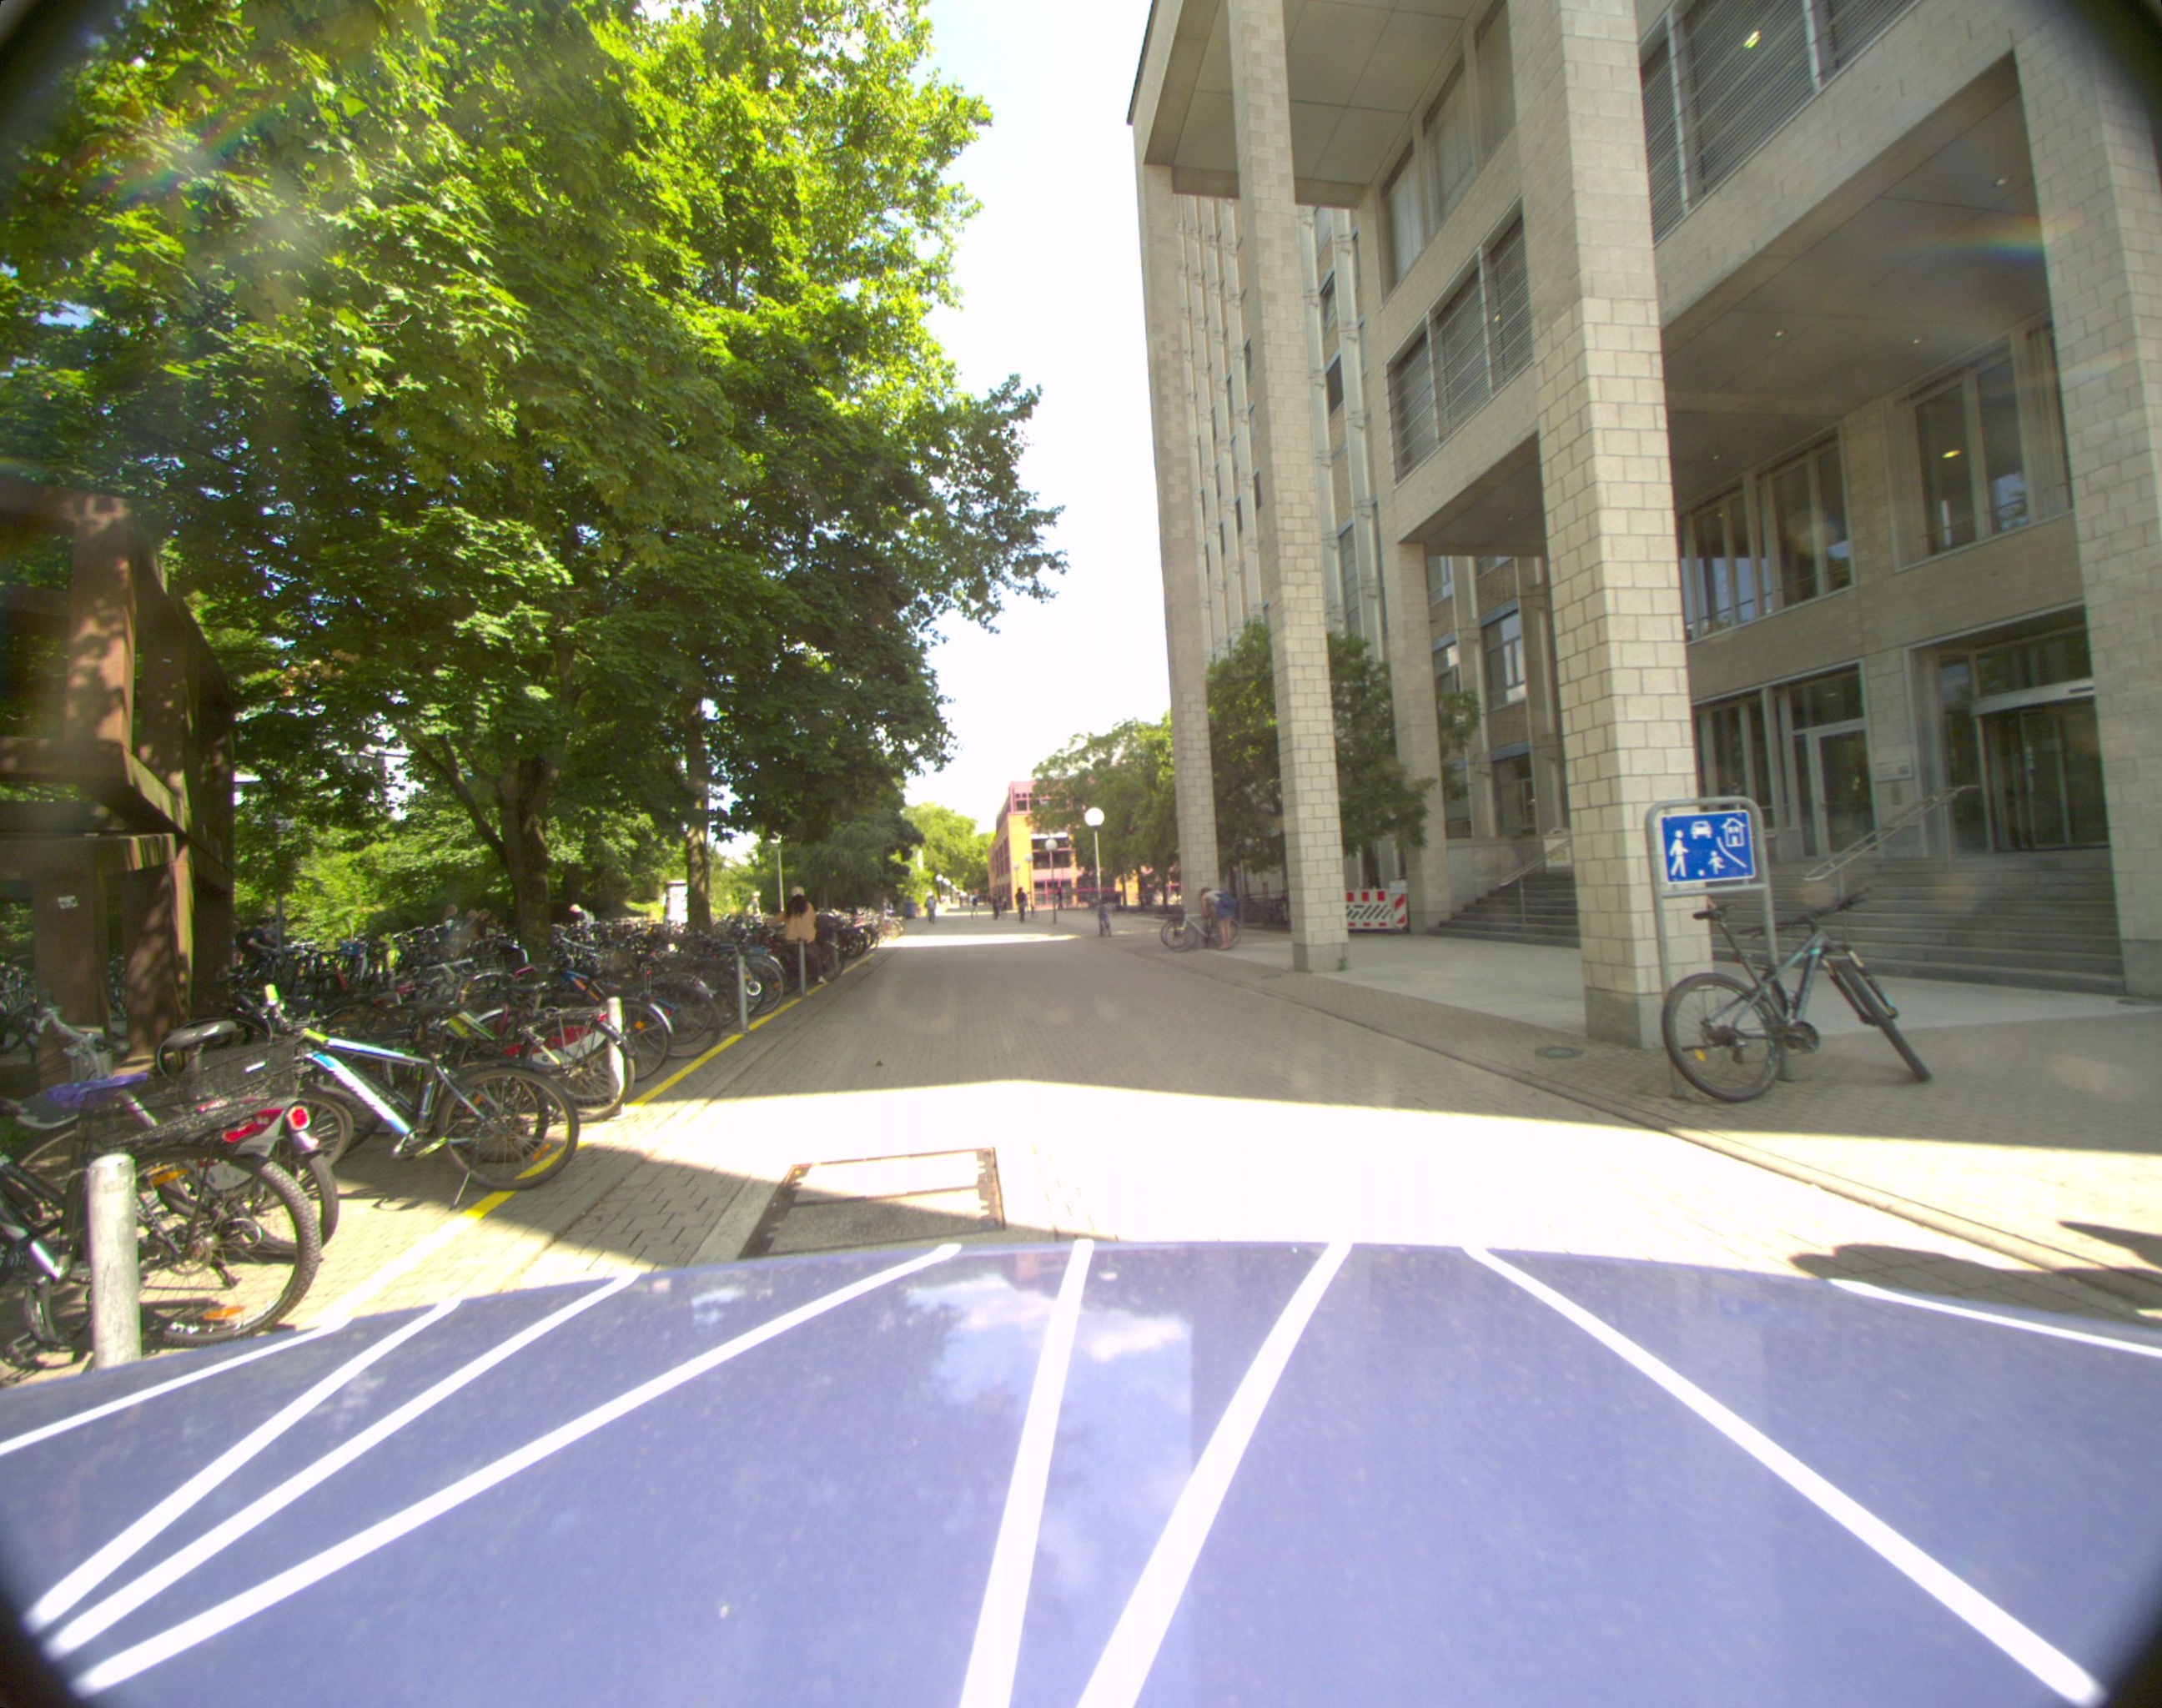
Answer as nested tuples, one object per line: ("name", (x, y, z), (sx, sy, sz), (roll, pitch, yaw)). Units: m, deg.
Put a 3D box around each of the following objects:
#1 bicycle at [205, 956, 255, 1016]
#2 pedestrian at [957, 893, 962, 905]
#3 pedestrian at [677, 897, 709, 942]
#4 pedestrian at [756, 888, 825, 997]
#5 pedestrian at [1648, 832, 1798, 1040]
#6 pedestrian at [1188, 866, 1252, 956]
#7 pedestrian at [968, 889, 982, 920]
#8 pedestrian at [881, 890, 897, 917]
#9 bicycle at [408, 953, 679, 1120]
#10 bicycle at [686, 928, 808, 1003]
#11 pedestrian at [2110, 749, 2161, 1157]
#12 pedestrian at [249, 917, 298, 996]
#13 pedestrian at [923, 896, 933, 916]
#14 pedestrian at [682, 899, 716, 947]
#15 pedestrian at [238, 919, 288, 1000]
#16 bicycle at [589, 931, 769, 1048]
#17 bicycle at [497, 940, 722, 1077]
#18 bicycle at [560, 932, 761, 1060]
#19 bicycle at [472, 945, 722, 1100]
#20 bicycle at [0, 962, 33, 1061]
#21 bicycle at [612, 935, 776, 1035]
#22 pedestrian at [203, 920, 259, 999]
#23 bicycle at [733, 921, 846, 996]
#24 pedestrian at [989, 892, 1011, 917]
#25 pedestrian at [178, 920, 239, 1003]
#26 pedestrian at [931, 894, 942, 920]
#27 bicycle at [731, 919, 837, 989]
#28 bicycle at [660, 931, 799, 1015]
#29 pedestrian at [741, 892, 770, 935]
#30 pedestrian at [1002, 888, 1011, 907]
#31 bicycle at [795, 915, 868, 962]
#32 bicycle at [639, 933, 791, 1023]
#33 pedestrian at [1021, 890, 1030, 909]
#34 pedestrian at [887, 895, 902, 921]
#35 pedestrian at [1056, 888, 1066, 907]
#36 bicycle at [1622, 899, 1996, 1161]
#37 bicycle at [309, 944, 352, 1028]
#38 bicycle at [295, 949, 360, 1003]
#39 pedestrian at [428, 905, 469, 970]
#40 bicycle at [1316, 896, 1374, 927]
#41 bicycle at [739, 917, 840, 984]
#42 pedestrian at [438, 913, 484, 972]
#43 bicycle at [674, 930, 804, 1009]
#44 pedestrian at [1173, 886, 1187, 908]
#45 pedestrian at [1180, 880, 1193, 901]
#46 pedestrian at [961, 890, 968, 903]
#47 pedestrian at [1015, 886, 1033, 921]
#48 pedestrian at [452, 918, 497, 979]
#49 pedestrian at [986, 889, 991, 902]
("bicycle", (-16.272, 2.488, 14.516), (1.899, 0.973, 0.479), (-4, -1, 38))
("pedestrian", (-18.625, 6.900, 116.667), (0.565, 1.753, 0.804), (-2, 1, -3))
("pedestrian", (-14.159, 2.367, 27.738), (0.744, 1.559, 0.721), (-3, -1, -1))
("pedestrian", (-4.759, 1.440, 12.489), (0.945, 1.692, 0.428), (-2, -3, -13))
("pedestrian", (5.760, 0.702, 6.842), (0.686, 1.723, 0.689), (-3, -2, -21))
("pedestrian", (2.825, 1.147, 15.497), (0.750, 1.729, 0.936), (-3, -2, -28))
("pedestrian", (-6.294, 2.995, 45.056), (0.565, 1.753, 0.802), (-3, 1, -21))
("pedestrian", (-11.015, 2.835, 43.557), (0.689, 1.503, 0.516), (-1, 2, 38))
("bicycle", (-4.130, 1.390, 5.911), (1.695, 1.118, 0.482), (-2, 0, -4))
("bicycle", (-5.258, 1.744, 12.047), (1.689, 1.040, 0.501), (-2, -4, -14))
("pedestrian", (3.650, 0.587, 2.043), (0.686, 1.879, 0.687), (-4, -2, -12))
("pedestrian", (-19.117, 2.401, 18.005), (0.722, 1.764, 0.743), (-1, -2, -43))
("pedestrian", (-11.743, 4.007, 58.381), (0.691, 1.503, 0.514), (-2, 1, -10))
("pedestrian", (-12.955, 2.339, 25.801), (0.744, 1.559, 0.721), (-3, -1, -1))
("pedestrian", (-18.821, 2.404, 17.495), (0.722, 1.764, 0.655), (-1, -2, -45))
("bicycle", (-4.501, 1.492, 8.621), (1.697, 1.143, 0.627), (-2, -4, -17))
("bicycle", (-4.428, 1.435, 7.224), (1.695, 1.118, 0.627), (-2, 0, -4))
("bicycle", (-4.348, 1.450, 7.956), (1.696, 1.144, 0.627), (-2, 0, -7))
("bicycle", (-4.047, 1.392, 6.436), (1.695, 1.118, 0.566), (-2, 0, -4))
("bicycle", (-14.322, 2.058, 9.992), (1.840, 1.163, 0.414), (-4, -2, 42))
("bicycle", (-4.667, 1.559, 9.263), (1.697, 1.040, 0.568), (-2, -4, -17))
("pedestrian", (-20.298, 2.492, 18.158), (0.722, 1.764, 0.743), (-2, -2, -36))
("bicycle", (-4.855, 1.727, 12.726), (1.689, 1.122, 0.454), (-2, -4, -14))
("pedestrian", (-5.247, 3.256, 49.396), (0.727, 1.503, 1.209), (-1, 1, 34))
("pedestrian", (-19.892, 2.430, 17.332), (0.722, 1.764, 0.743), (-2, -2, -34))
("pedestrian", (-8.617, 3.147, 45.292), (0.515, 1.503, 0.691), (-2, 1, -7))
("bicycle", (-5.253, 1.758, 13.515), (1.689, 1.122, 0.454), (-2, -4, -14))
("bicycle", (-4.945, 1.661, 10.784), (1.689, 1.040, 0.617), (-2, -4, -14))
("pedestrian", (-12.506, 2.283, 29.229), (0.744, 1.559, 0.721), (-3, -1, -1))
("pedestrian", (-7.471, 4.375, 76.296), (0.744, 1.753, 0.974), (-2, 1, -10))
("bicycle", (-6.251, 2.116, 19.082), (1.689, 1.076, 0.478), (-2, -4, -13))
("bicycle", (-4.823, 1.626, 10.068), (1.695, 1.040, 0.618), (-3, -4, -1))
("pedestrian", (-4.539, 3.714, 62.063), (0.691, 1.503, 0.514), (-2, 1, -10))
("pedestrian", (-11.258, 3.234, 45.806), (0.689, 1.503, 0.516), (-1, 2, 38))
("pedestrian", (-1.649, 3.501, 61.323), (0.691, 1.503, 0.514), (-2, 1, -10))
("bicycle", (4.246, 0.959, 4.460), (1.830, 1.234, 0.531), (-4, -1, -10))
("bicycle", (-12.096, 2.089, 12.268), (0.437, 1.163, 1.841), (-2, -2, -44))
("bicycle", (-15.288, 2.442, 15.410), (1.899, 0.973, 0.479), (-4, -1, 32))
("pedestrian", (-18.216, 2.390, 21.881), (0.743, 1.778, 0.722), (-4, -2, 37))
("bicycle", (7.573, 1.636, 21.874), (0.644, 0.755, 1.988), (-2, -1, -11))
("bicycle", (-5.400, 1.780, 14.148), (1.689, 1.122, 0.454), (-2, -4, -14))
("pedestrian", (-17.091, 2.423, 20.949), (0.743, 1.559, 0.722), (-3, -2, 28))
("bicycle", (-5.131, 1.711, 11.480), (1.689, 1.040, 0.617), (-2, -4, -14))
("pedestrian", (8.218, 3.571, 62.999), (0.973, 1.753, 0.745), (-2, 1, 17))
("pedestrian", (9.374, 3.238, 67.542), (0.973, 1.753, 0.745), (-2, 1, 17))
("pedestrian", (-16.406, 5.935, 107.001), (0.666, 1.753, 0.805), (-2, 1, 23))
("pedestrian", (-3.000, 2.626, 40.162), (0.743, 1.753, 0.975), (-2, 1, 7))
("pedestrian", (-16.378, 2.534, 20.532), (0.743, 1.559, 0.722), (-4, -2, 33))
("pedestrian", (-13.683, 6.093, 112.082), (0.565, 1.753, 0.804), (-2, 1, -3))
